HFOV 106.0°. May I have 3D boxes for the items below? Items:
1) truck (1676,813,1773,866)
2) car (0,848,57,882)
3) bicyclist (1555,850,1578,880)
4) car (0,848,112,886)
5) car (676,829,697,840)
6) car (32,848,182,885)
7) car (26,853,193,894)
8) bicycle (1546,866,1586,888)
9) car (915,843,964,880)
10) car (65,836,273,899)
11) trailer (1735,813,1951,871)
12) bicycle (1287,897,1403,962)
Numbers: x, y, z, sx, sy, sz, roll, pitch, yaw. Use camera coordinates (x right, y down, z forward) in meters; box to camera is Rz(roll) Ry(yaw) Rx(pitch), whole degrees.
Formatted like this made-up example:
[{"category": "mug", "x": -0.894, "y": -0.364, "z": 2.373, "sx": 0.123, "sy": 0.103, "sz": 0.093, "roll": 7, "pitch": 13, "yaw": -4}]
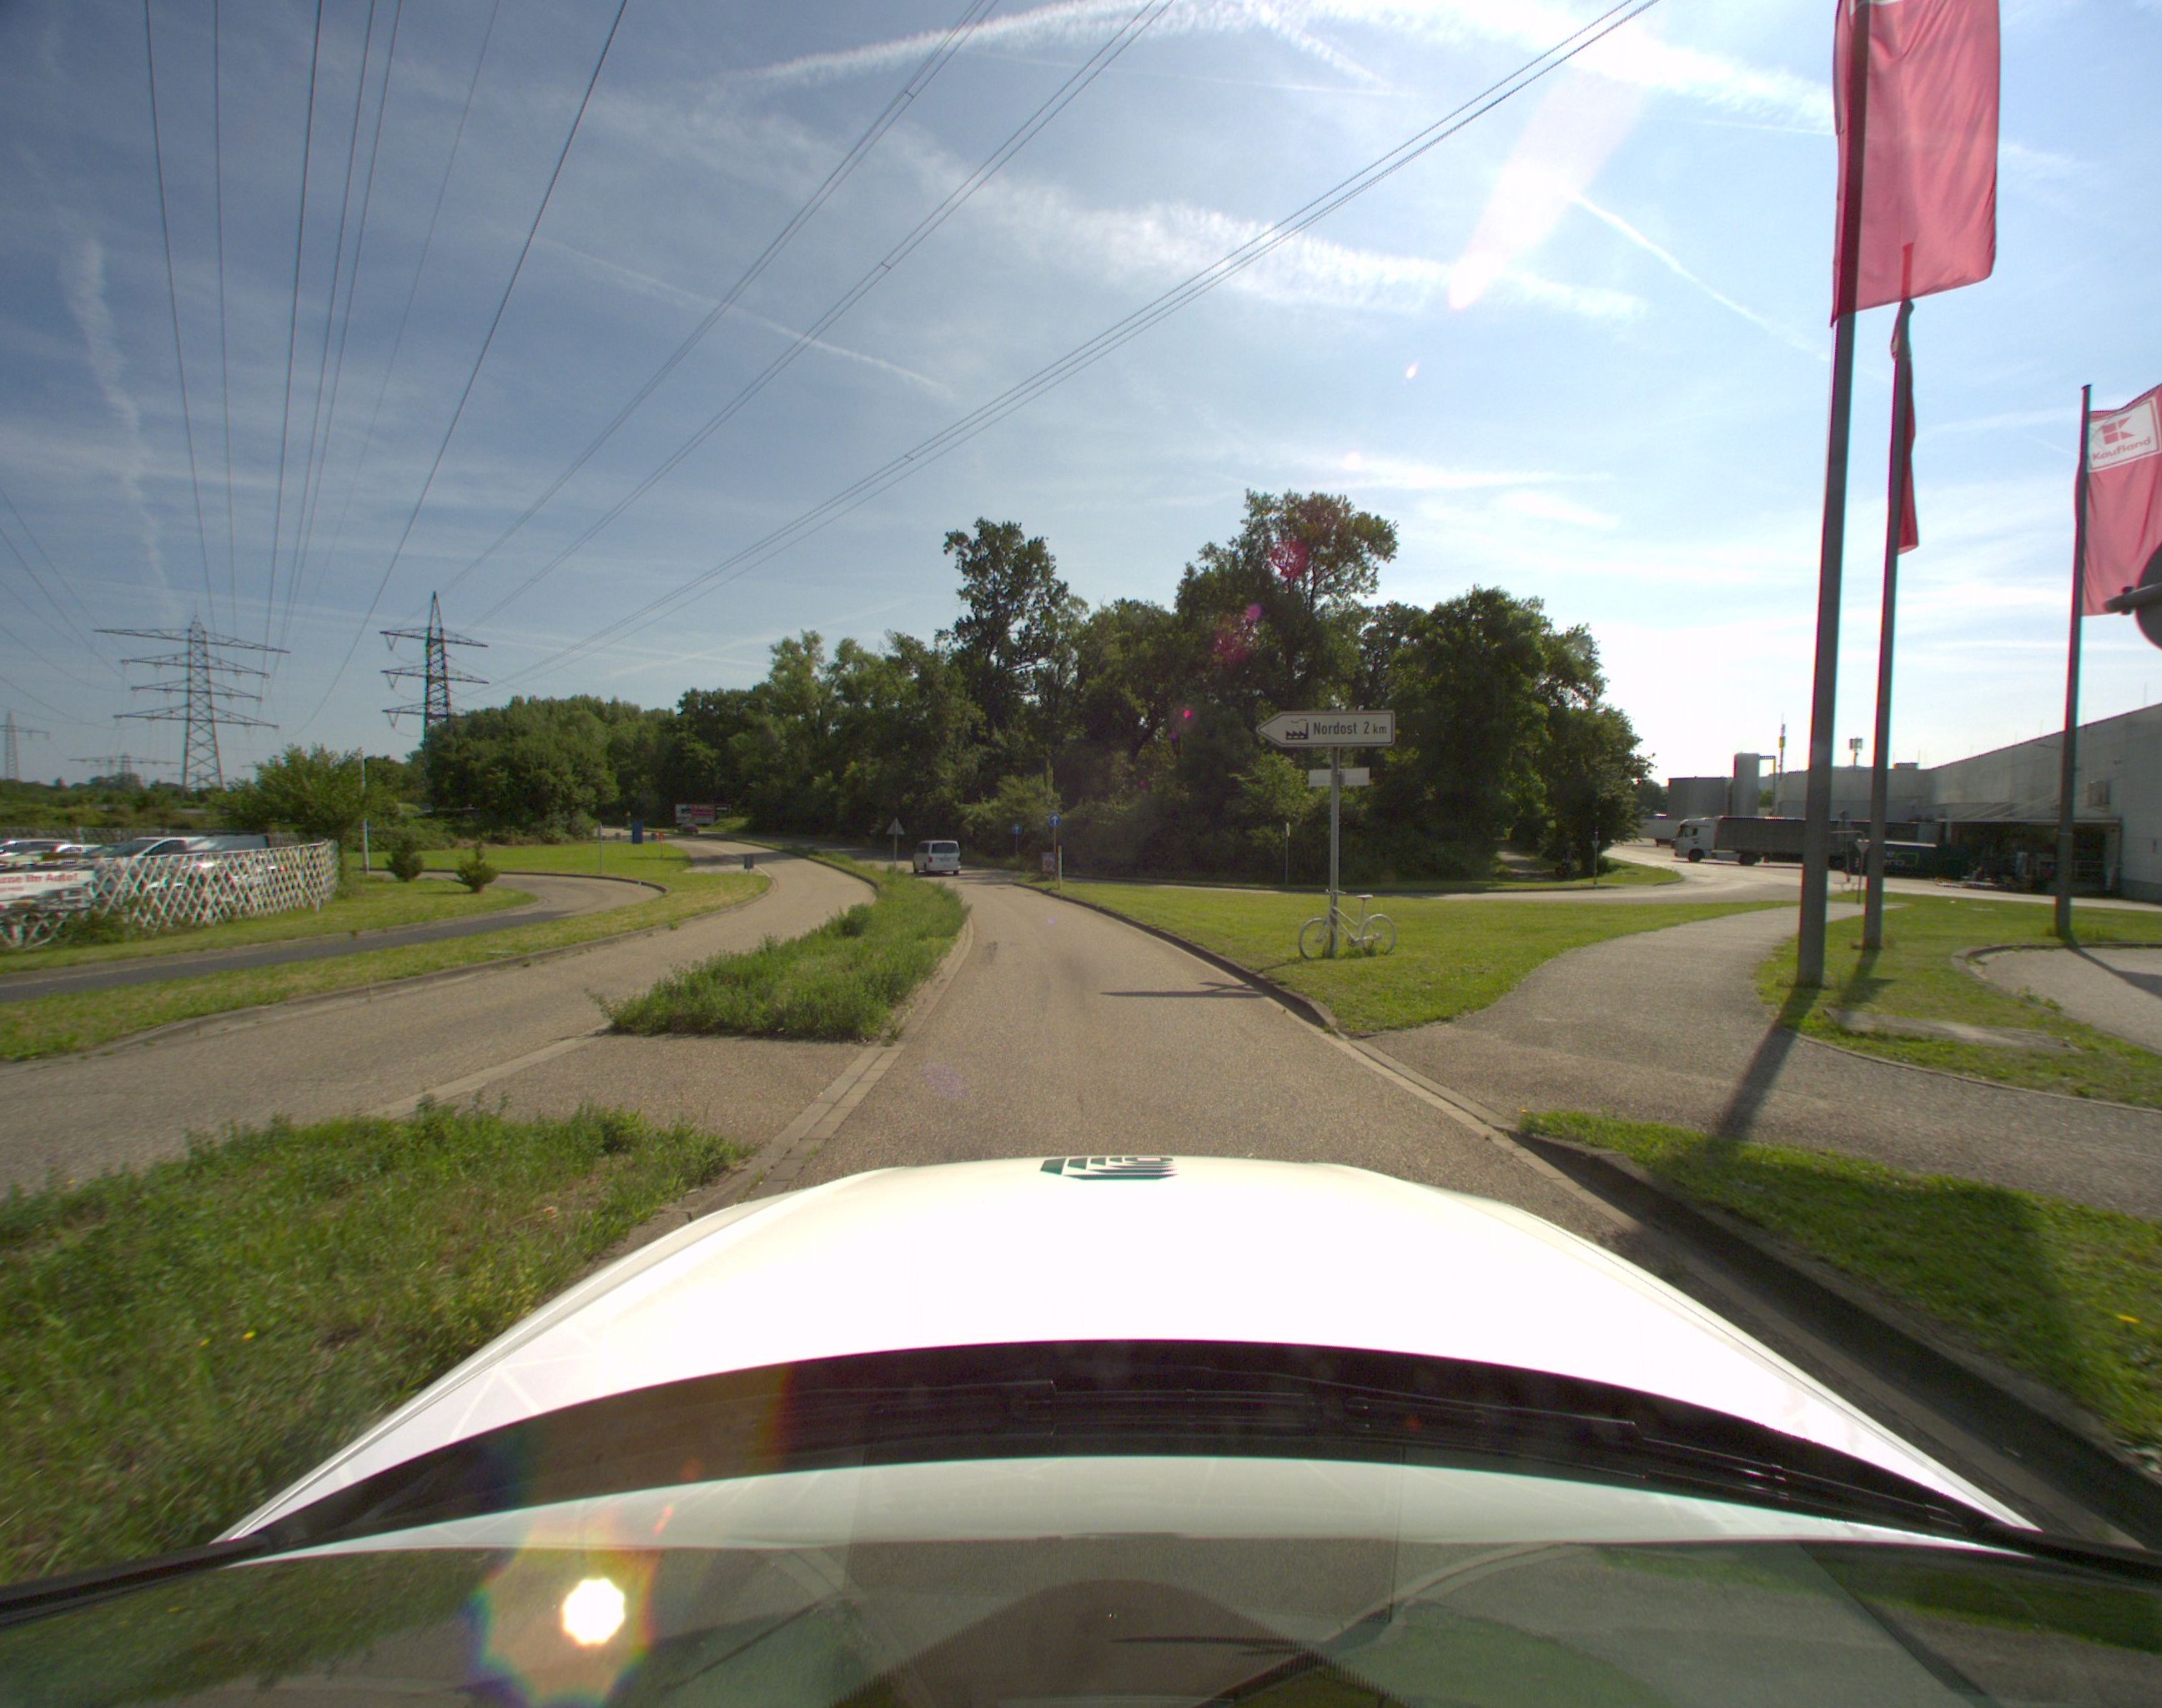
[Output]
[{"category": "truck", "x": 56.236, "y": -1.347, "z": 71.416, "sx": 6.483, "sy": 4.415, "sz": 3.781, "roll": 2, "pitch": 3, "yaw": 36}, {"category": "car", "x": -44.233, "y": 0.476, "z": 32.843, "sx": 1.594, "sy": 1.293, "sz": 3.628, "roll": 0, "pitch": 2, "yaw": -11}, {"category": "bicyclist", "x": 26.216, "y": 0.587, "z": 43.968, "sx": 0.674, "sy": 1.533, "sz": 0.845, "roll": 0, "pitch": 2, "yaw": -5}, {"category": "car", "x": -41.809, "y": 0.489, "z": 32.667, "sx": 1.590, "sy": 1.293, "sz": 3.638, "roll": 0, "pitch": 2, "yaw": -3}, {"category": "car", "x": -57.445, "y": -2.858, "z": 118.529, "sx": 3.612, "sy": 1.566, "sz": 1.662, "roll": 2, "pitch": 3, "yaw": 45}, {"category": "car", "x": -39.458, "y": 0.475, "z": 33.119, "sx": 1.587, "sy": 1.293, "sz": 3.644, "roll": 0, "pitch": 2, "yaw": 2}, {"category": "car", "x": -35.911, "y": 0.681, "z": 30.248, "sx": 1.584, "sy": 1.293, "sz": 3.651, "roll": 0, "pitch": 2, "yaw": 8}, {"category": "bicycle", "x": 26.209, "y": 1.236, "z": 44.087, "sx": 0.722, "sy": 0.977, "sz": 2.184, "roll": 0, "pitch": 3, "yaw": -4}, {"category": "car", "x": -8.111, "y": 0.412, "z": 46.456, "sx": 2.046, "sy": 2.013, "sz": 3.972, "roll": 0, "pitch": 0, "yaw": -21}, {"category": "car", "x": -33.098, "y": 0.394, "z": 29.790, "sx": 1.678, "sy": 2.040, "sz": 4.756, "roll": 1, "pitch": 2, "yaw": 16}, {"category": "trailer", "x": 62.118, "y": -1.151, "z": 67.126, "sx": 12.552, "sy": 4.415, "sz": 3.781, "roll": 2, "pitch": 3, "yaw": 36}, {"category": "bicycle", "x": 3.926, "y": 1.111, "z": 12.087, "sx": 1.787, "sy": 0.889, "sz": 0.270, "roll": 0, "pitch": 0, "yaw": -15}]
